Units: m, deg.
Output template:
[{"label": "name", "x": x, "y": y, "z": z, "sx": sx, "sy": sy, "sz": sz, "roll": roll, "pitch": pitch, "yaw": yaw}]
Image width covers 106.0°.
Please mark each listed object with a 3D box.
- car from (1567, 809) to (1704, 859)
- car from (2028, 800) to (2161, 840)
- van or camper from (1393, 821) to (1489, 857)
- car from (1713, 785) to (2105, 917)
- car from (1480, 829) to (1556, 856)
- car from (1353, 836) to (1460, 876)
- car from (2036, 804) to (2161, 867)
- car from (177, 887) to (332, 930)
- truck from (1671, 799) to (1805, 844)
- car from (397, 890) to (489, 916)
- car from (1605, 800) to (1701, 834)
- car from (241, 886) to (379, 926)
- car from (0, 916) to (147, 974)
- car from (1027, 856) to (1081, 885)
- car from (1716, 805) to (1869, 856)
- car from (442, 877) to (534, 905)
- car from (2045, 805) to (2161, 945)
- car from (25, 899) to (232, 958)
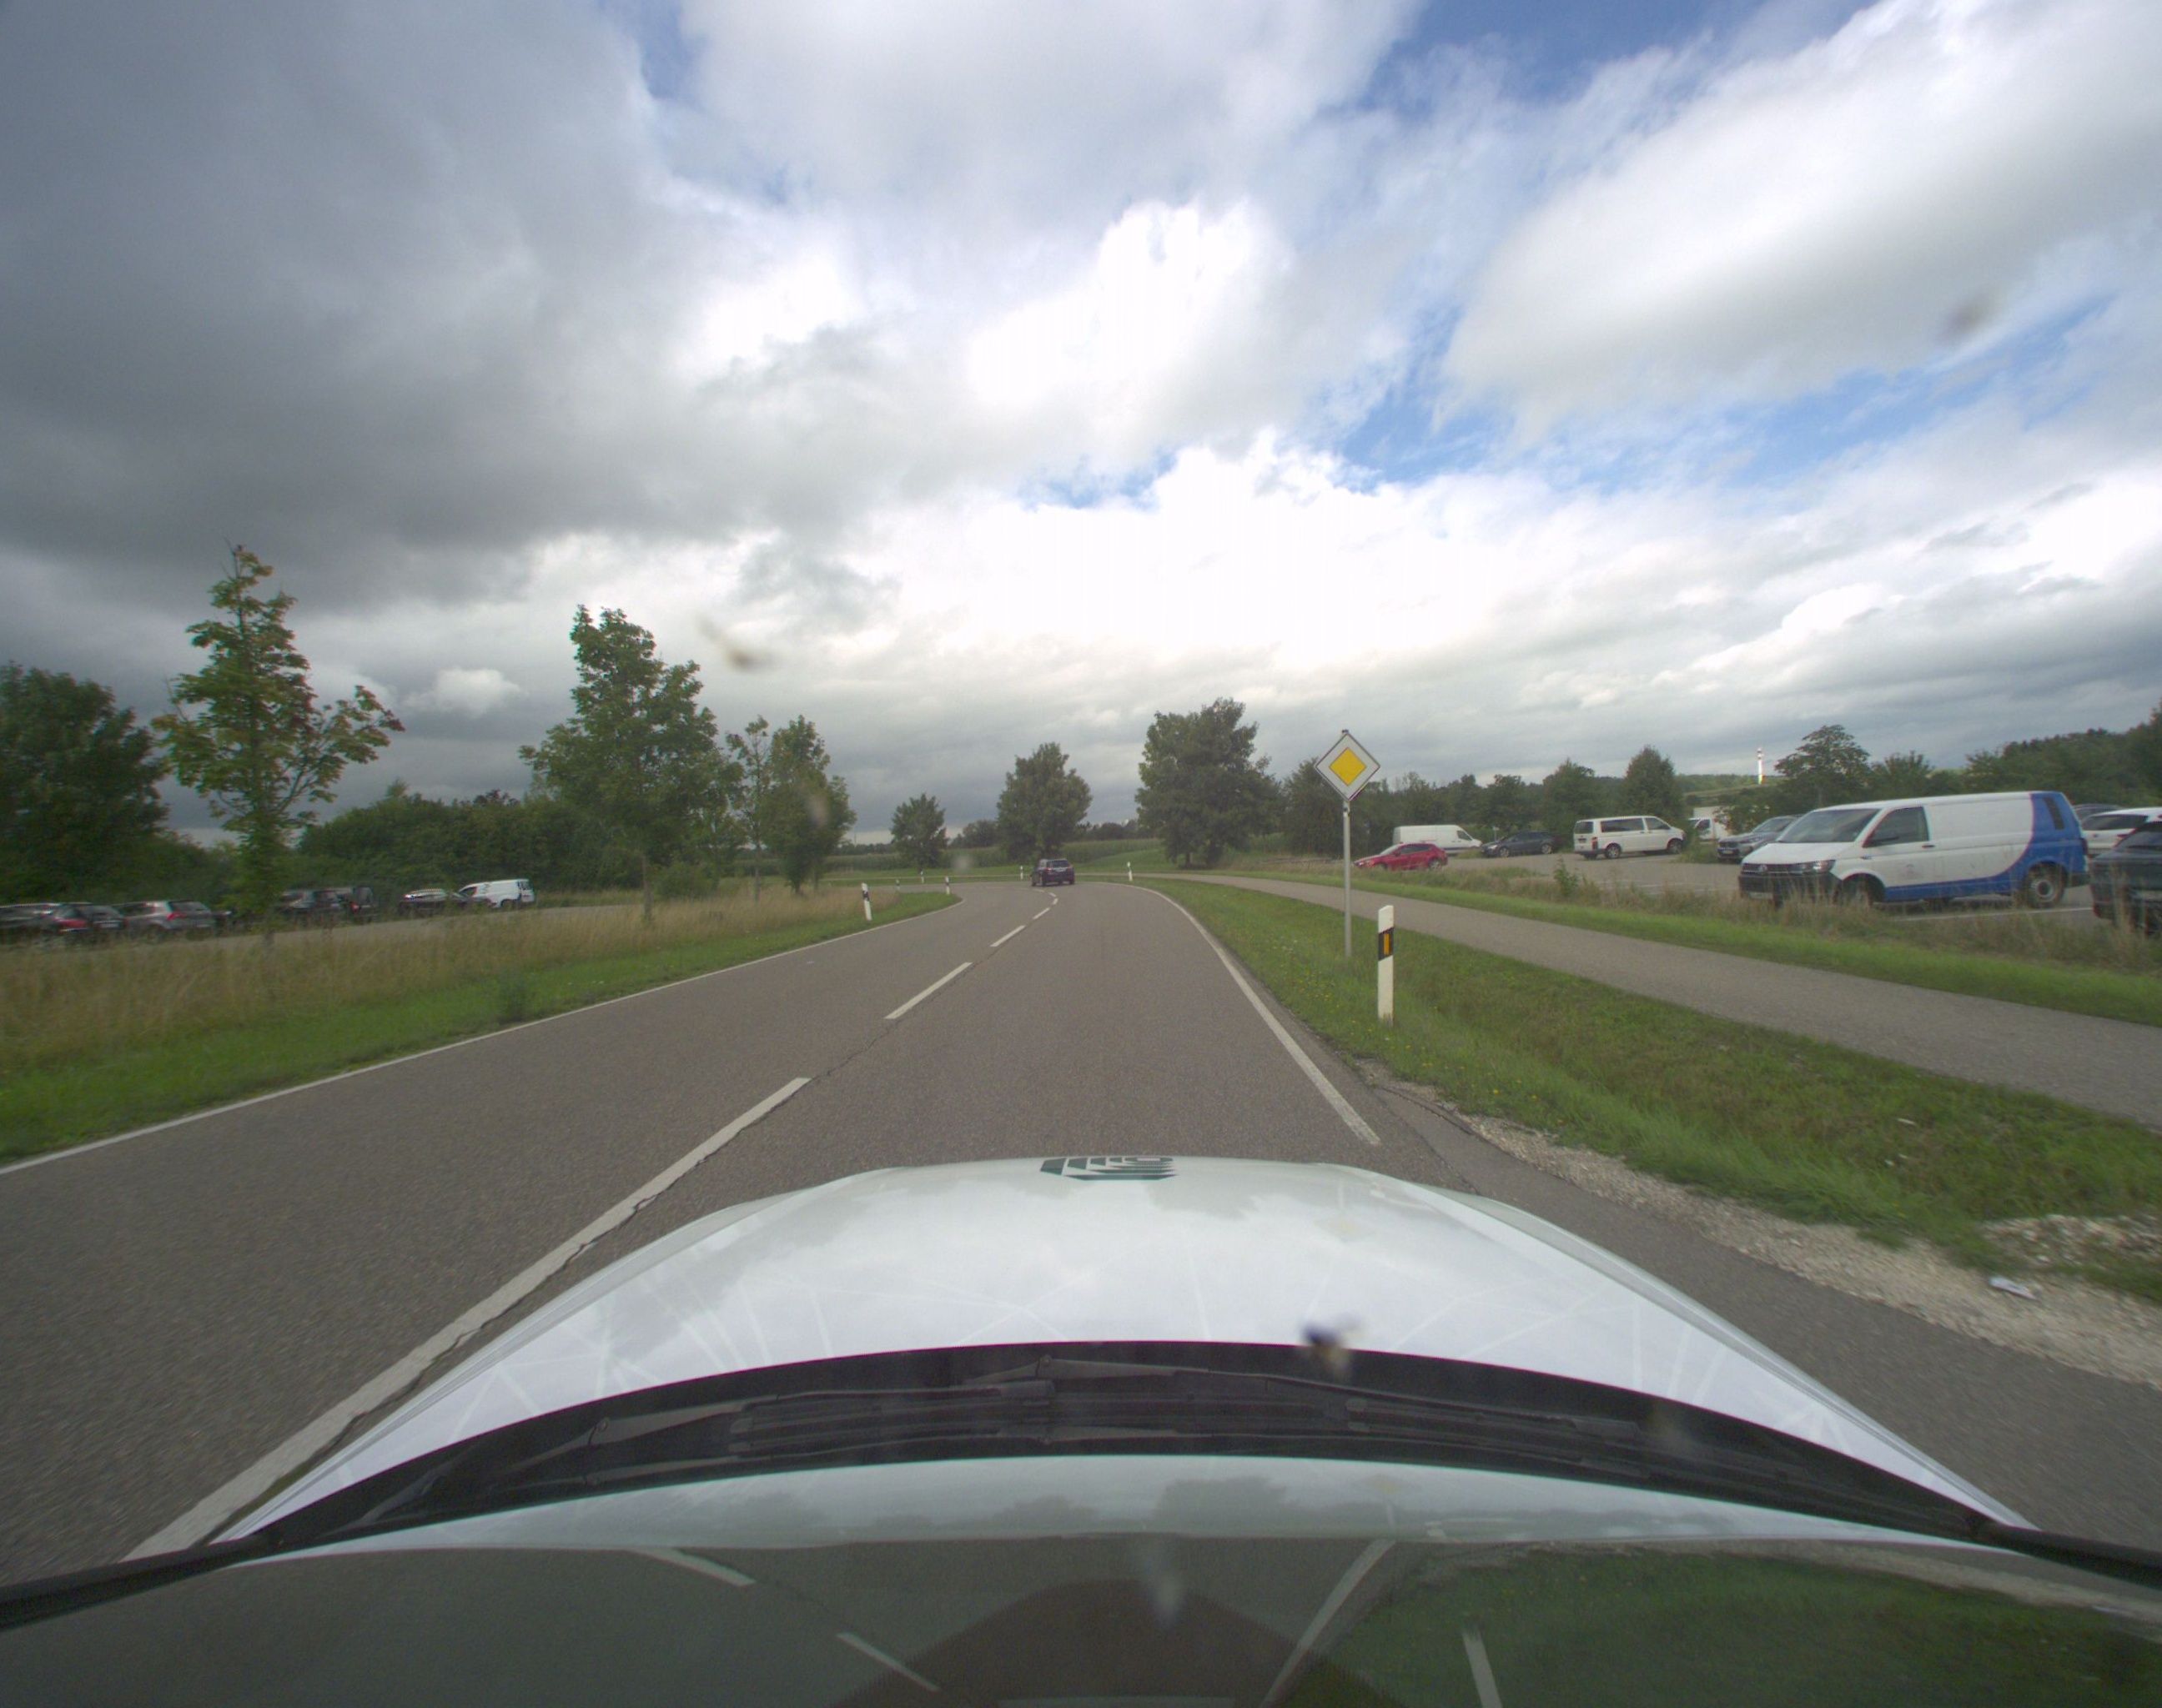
[{"label": "car", "x": 26.510, "y": -0.928, "z": 39.075, "sx": 5.012, "sy": 2.000, "sz": 2.231, "roll": -4, "pitch": 0, "yaw": -1}, {"label": "car", "x": 34.236, "y": -1.131, "z": 26.753, "sx": 3.975, "sy": 1.167, "sz": 1.999, "roll": -2, "pitch": 0, "yaw": -1}, {"label": "van or camper", "x": 28.765, "y": -1.191, "z": 65.236, "sx": 6.714, "sy": 2.561, "sz": 2.051, "roll": -2, "pitch": 0, "yaw": 3}, {"label": "car", "x": 14.374, "y": -0.052, "z": 14.362, "sx": 4.931, "sy": 1.974, "sz": 1.954, "roll": -2, "pitch": 0, "yaw": -1}, {"label": "car", "x": 26.380, "y": -0.703, "z": 49.218, "sx": 3.612, "sy": 1.439, "sz": 1.707, "roll": -2, "pitch": 0, "yaw": 1}, {"label": "car", "x": 15.742, "y": 0.094, "z": 39.522, "sx": 4.317, "sy": 1.575, "sz": 1.970, "roll": -4, "pitch": 0, "yaw": -1}, {"label": "car", "x": 25.306, "y": -0.474, "z": 19.243, "sx": 3.682, "sy": 1.391, "sz": 1.756, "roll": -2, "pitch": 0, "yaw": -6}, {"label": "car", "x": -32.583, "y": 2.133, "z": 32.235, "sx": 4.004, "sy": 1.380, "sz": 1.465, "roll": -2, "pitch": 0, "yaw": -23}, {"label": "truck", "x": 45.417, "y": -2.202, "z": 56.455, "sx": 6.854, "sy": 2.715, "sz": 2.833, "roll": -2, "pitch": 0, "yaw": 1}, {"label": "car", "x": -34.204, "y": 2.621, "z": 43.743, "sx": 3.607, "sy": 1.167, "sz": 1.328, "roll": -2, "pitch": 0, "yaw": -11}, {"label": "car", "x": 31.103, "y": -1.995, "z": 44.349, "sx": 3.984, "sy": 1.596, "sz": 1.995, "roll": -2, "pitch": 0, "yaw": -7}, {"label": "car", "x": -33.293, "y": 2.217, "z": 35.297, "sx": 4.003, "sy": 1.380, "sz": 1.465, "roll": -2, "pitch": 0, "yaw": -22}, {"label": "car", "x": -30.329, "y": 2.664, "z": 23.570, "sx": 3.989, "sy": 1.380, "sz": 1.817, "roll": -2, "pitch": 0, "yaw": -12}, {"label": "car", "x": -1.512, "y": 0.894, "z": 44.492, "sx": 1.847, "sy": 1.417, "sz": 3.975, "roll": -2, "pitch": 0, "yaw": -18}, {"label": "car", "x": 24.973, "y": -0.800, "z": 28.706, "sx": 3.665, "sy": 1.607, "sz": 1.764, "roll": -2, "pitch": 0, "yaw": 9}, {"label": "car", "x": -34.109, "y": 2.097, "z": 46.937, "sx": 3.997, "sy": 1.380, "sz": 1.467, "roll": -2, "pitch": 0, "yaw": -17}, {"label": "car", "x": 14.471, "y": 0.122, "z": 9.495, "sx": 4.259, "sy": 1.566, "sz": 1.837, "roll": -4, "pitch": 0, "yaw": -1}, {"label": "car", "x": -31.360, "y": 2.428, "z": 26.954, "sx": 4.241, "sy": 1.566, "sz": 1.752, "roll": -2, "pitch": 0, "yaw": -11}]
